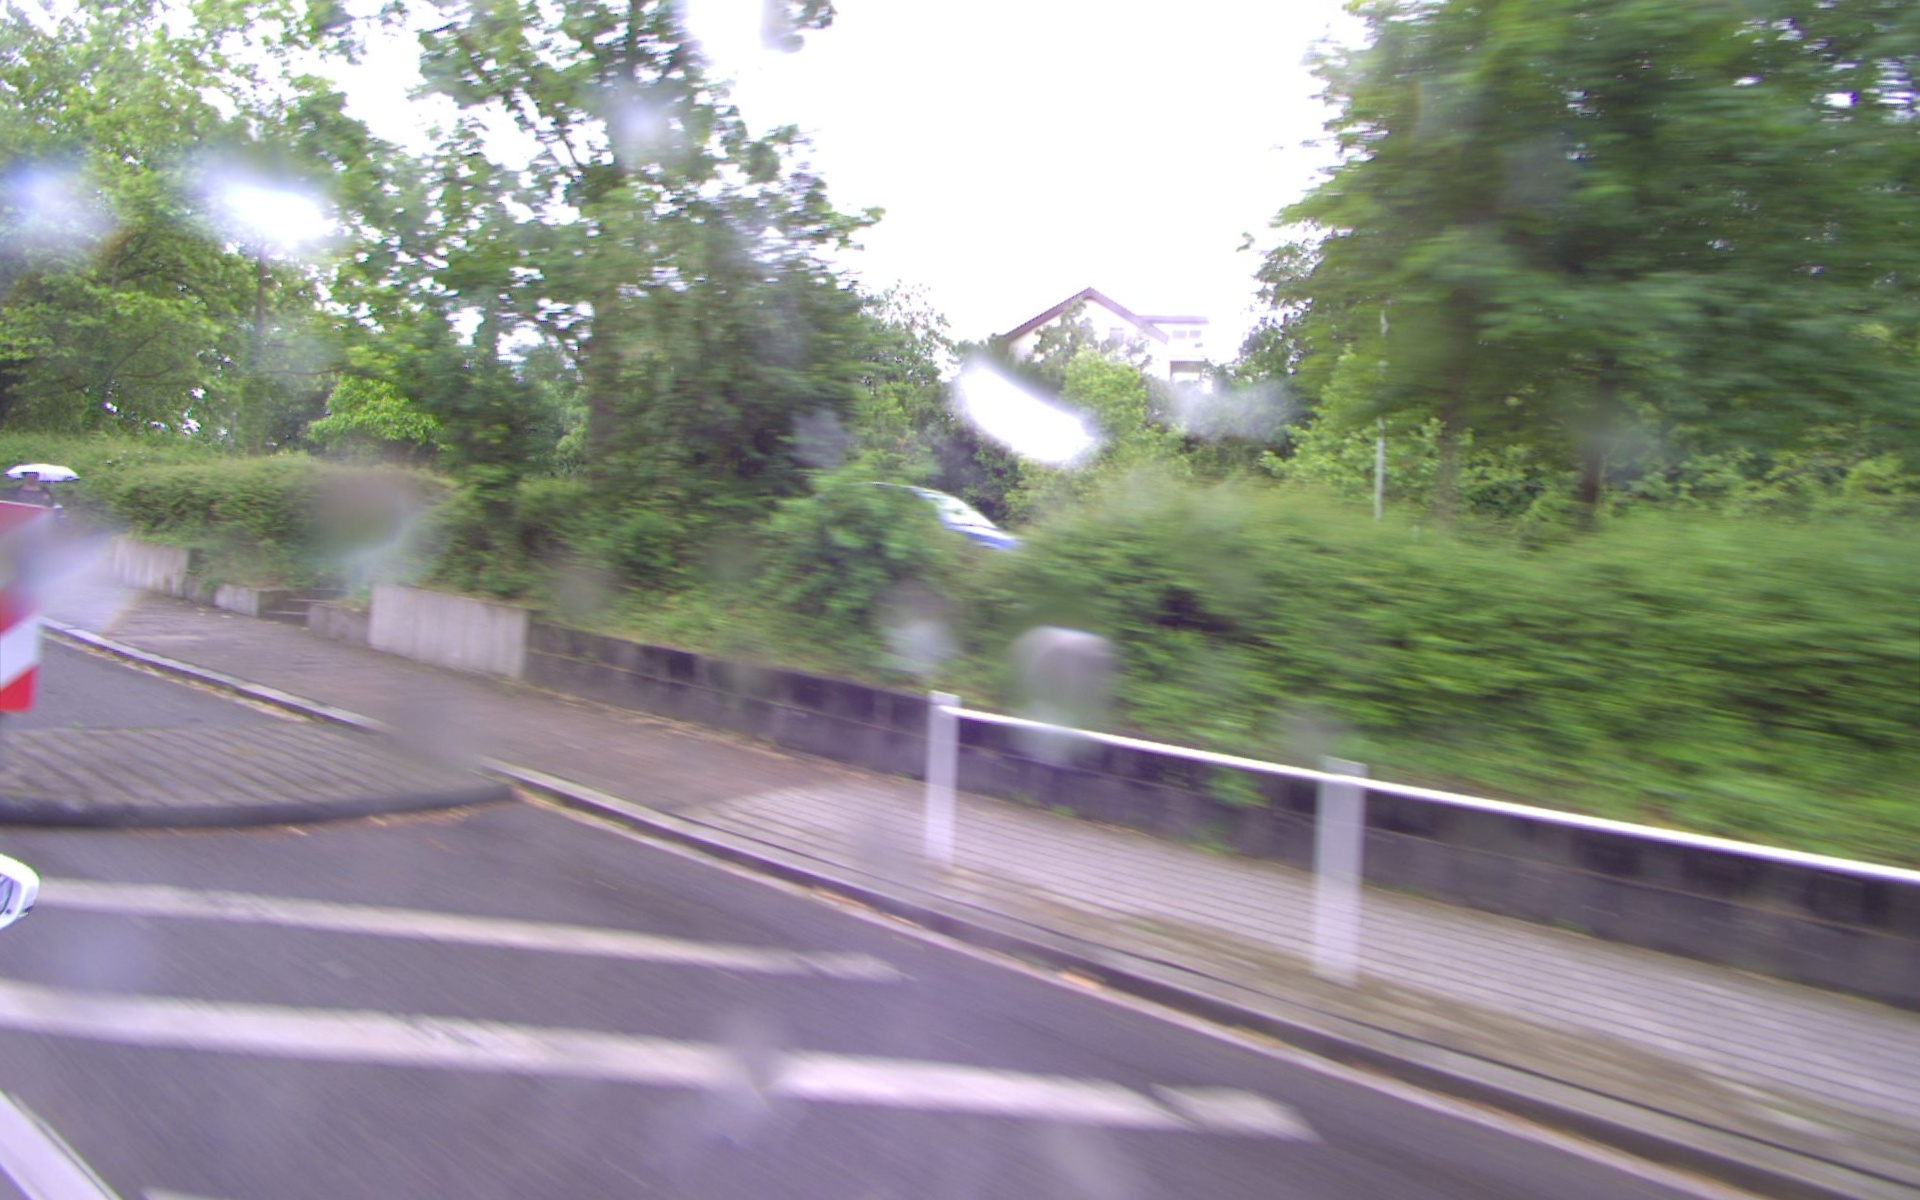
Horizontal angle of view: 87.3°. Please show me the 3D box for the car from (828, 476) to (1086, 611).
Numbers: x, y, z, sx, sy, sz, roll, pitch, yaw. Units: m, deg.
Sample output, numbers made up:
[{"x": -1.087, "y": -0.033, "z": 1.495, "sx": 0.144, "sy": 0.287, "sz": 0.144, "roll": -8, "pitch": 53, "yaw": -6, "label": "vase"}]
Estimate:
[{"x": -0.049, "y": -0.714, "z": 12.579, "sx": 2.828, "sy": 1.325, "sz": 1.309, "roll": 7, "pitch": -1, "yaw": 29, "label": "car"}]

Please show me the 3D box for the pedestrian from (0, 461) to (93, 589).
[{"x": -15.078, "y": -1.207, "z": 16.355, "sx": 1.113, "sy": 1.916, "sz": 1.053, "roll": 5, "pitch": 0, "yaw": 27, "label": "pedestrian"}]
